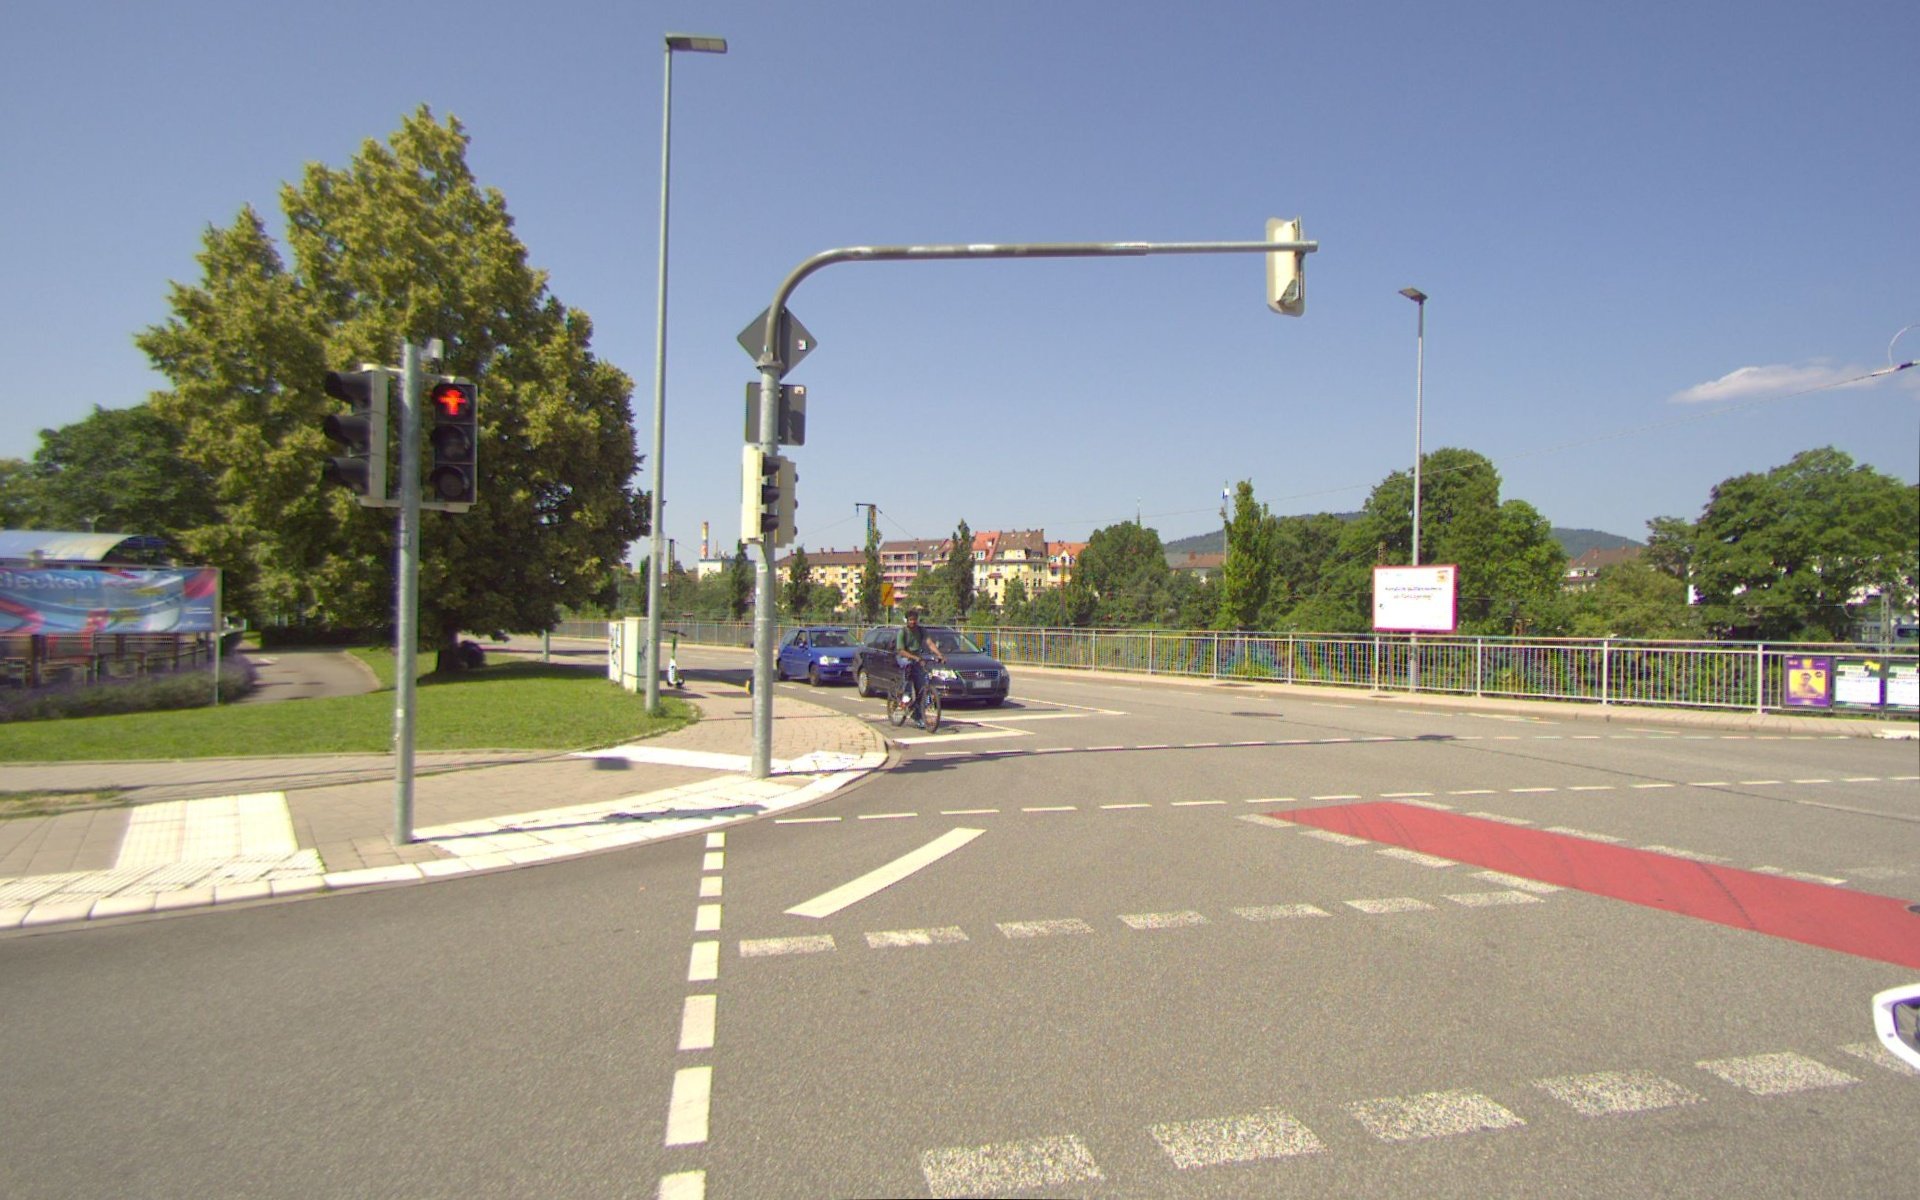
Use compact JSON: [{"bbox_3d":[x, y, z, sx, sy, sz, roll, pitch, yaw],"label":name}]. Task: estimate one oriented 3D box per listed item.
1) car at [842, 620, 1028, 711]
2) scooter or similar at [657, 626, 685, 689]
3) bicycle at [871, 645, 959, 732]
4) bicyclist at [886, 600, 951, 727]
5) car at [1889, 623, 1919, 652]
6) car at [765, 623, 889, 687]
[{"bbox_3d":[-0.640,1.195,19.940,1.763,1.516,4.687,1,-1,-28],"label":"car"},{"bbox_3d":[-5.857,1.139,20.323,0.465,1.200,1.359,1,0,-19],"label":"scooter or similar"},{"bbox_3d":[-0.695,1.270,14.864,0.690,1.119,1.745,-1,0,-24],"label":"bicycle"},{"bbox_3d":[-0.625,0.913,14.852,0.703,1.813,0.804,-1,0,-24],"label":"bicyclist"},{"bbox_3d":[74.545,2.893,76.697,1.978,2.141,4.947,1,-1,-32],"label":"car"},{"bbox_3d":[-3.396,1.298,25.061,1.642,1.399,3.967,1,-1,-31],"label":"car"}]
